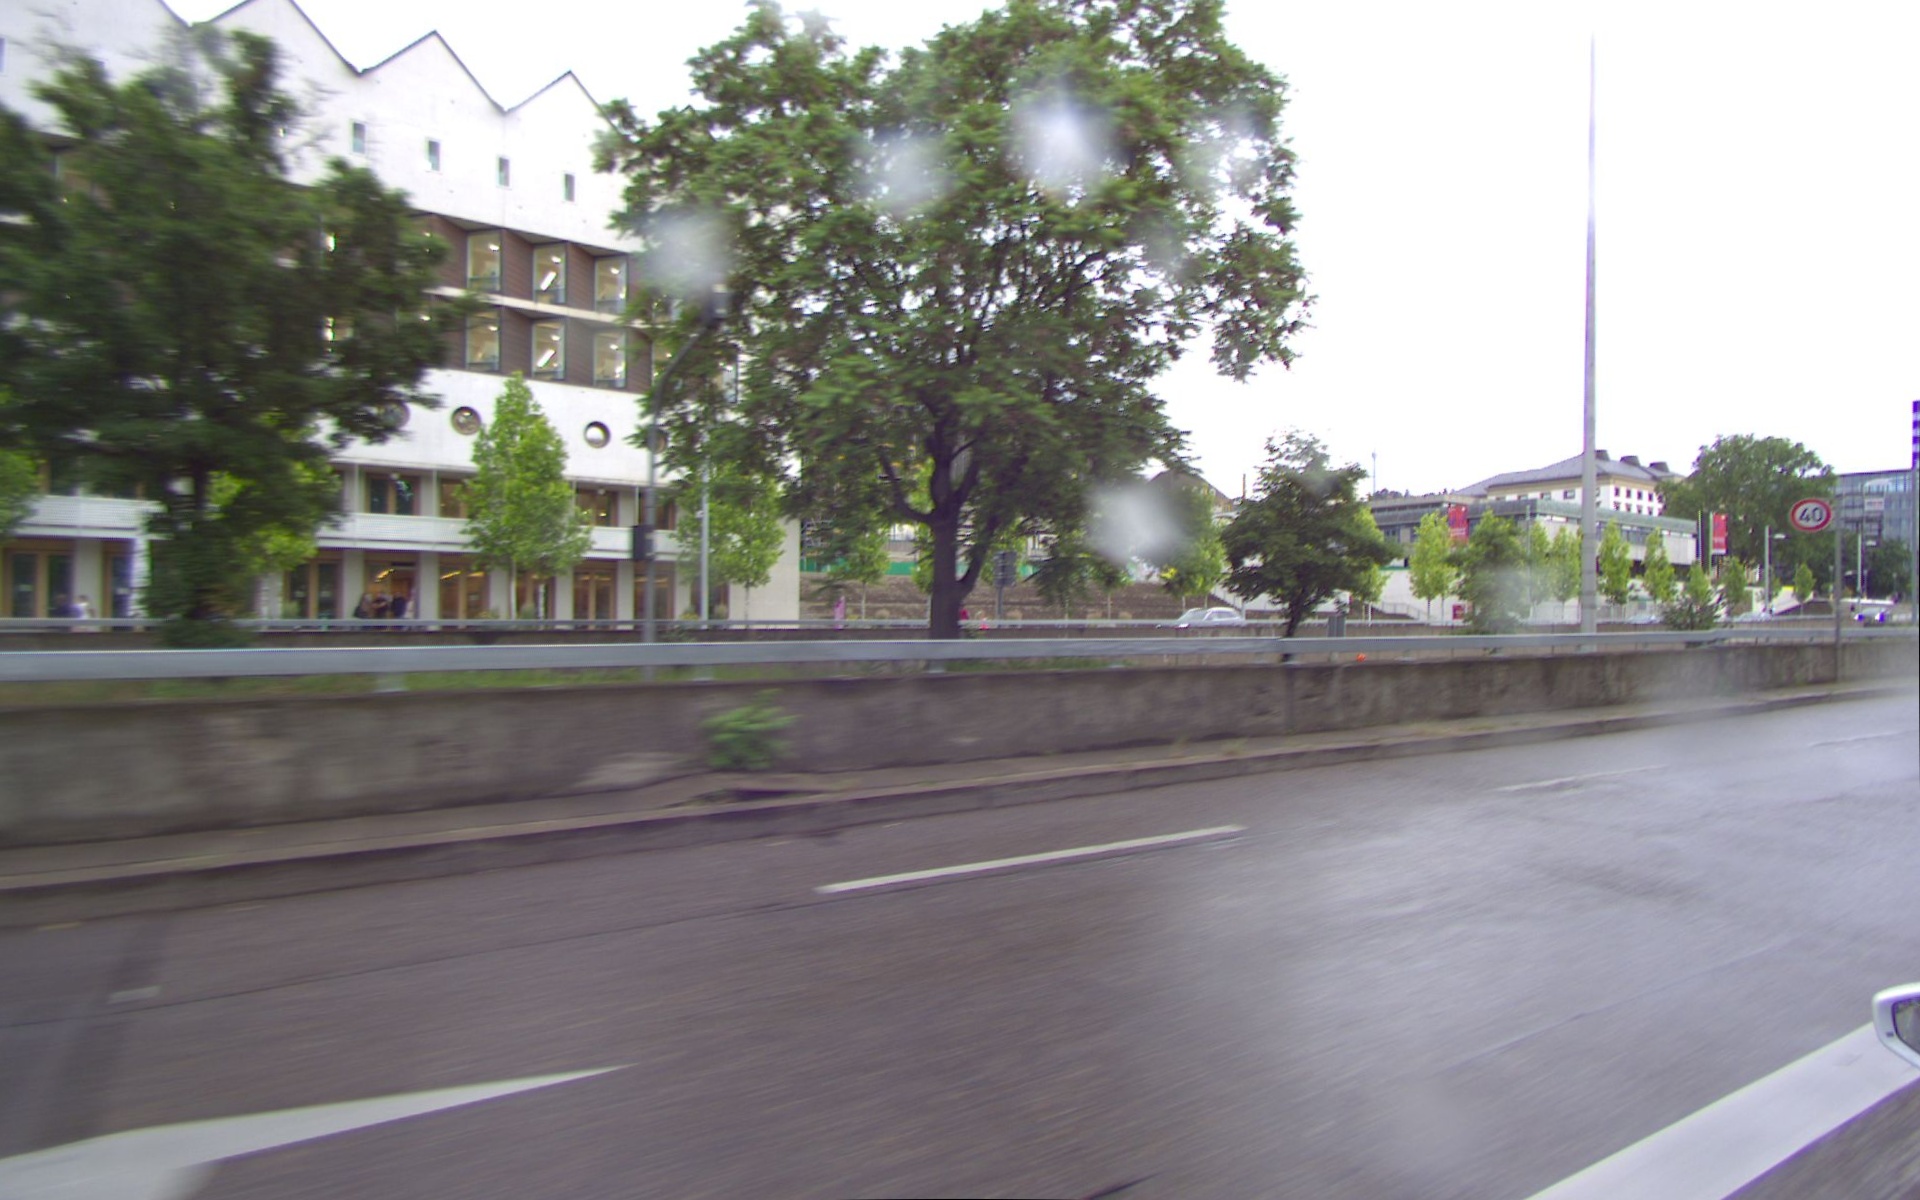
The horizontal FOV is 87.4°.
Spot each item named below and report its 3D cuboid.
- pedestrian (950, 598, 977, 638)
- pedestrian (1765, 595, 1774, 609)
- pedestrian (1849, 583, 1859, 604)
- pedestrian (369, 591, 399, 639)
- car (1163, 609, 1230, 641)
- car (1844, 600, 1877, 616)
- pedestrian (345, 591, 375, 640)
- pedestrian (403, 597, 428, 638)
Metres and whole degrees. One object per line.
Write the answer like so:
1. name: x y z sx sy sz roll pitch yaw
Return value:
1. pedestrian: 0.161 0.883 49.141 0.823 1.891 1.076 0 1 -41
2. pedestrian: 83.492 0.216 103.588 0.627 1.442 0.488 0 1 -35
3. pedestrian: 94.288 -0.704 105.931 0.715 2.120 0.766 -1 5 38
4. pedestrian: -22.843 0.589 39.846 0.687 1.883 0.741 1 1 11
5. car: 10.087 1.050 42.786 2.796 1.295 1.284 0 1 -37
6. car: 81.373 0.719 90.781 2.930 1.459 1.456 1 1 -32
7. pedestrian: -23.296 0.589 38.998 0.687 1.883 0.741 1 1 11
8. pedestrian: -22.030 0.697 40.644 0.689 1.649 0.739 1 1 -12
